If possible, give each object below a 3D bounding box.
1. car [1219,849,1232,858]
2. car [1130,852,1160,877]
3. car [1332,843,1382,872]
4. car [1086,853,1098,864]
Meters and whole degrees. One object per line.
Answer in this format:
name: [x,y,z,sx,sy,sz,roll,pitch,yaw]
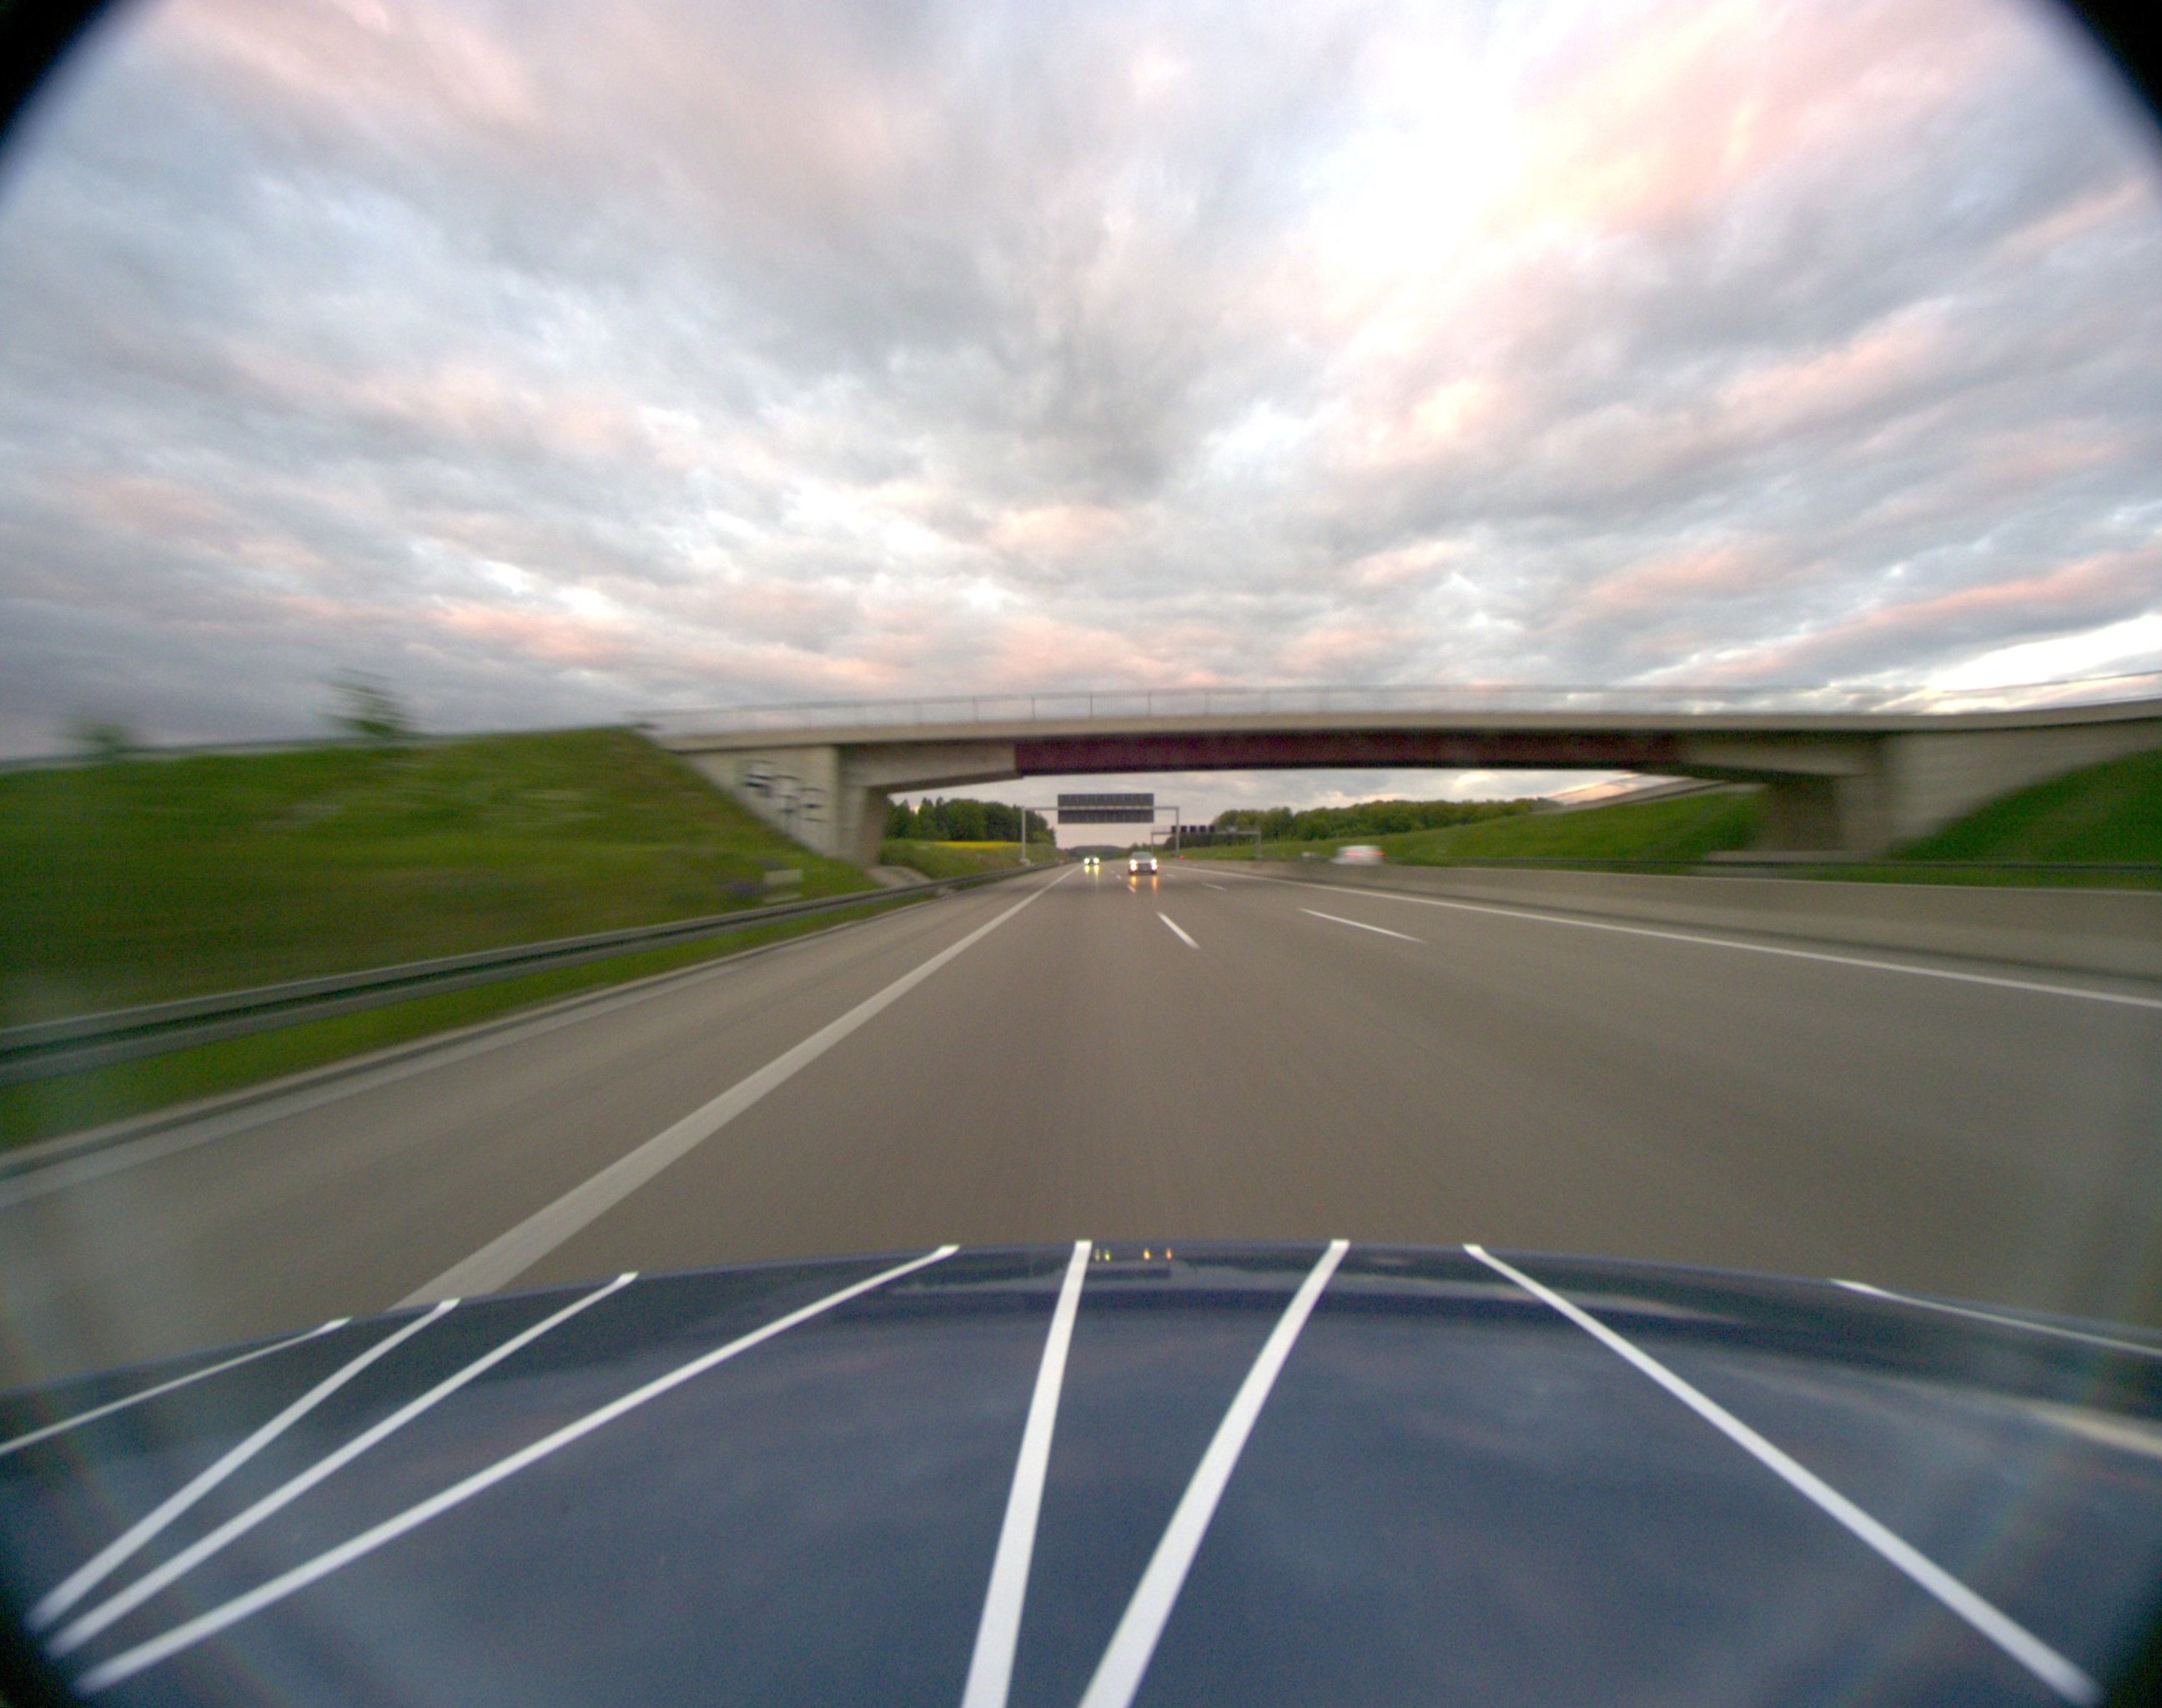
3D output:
car: [25.882,-0.115,135.920,1.606,1.548,4.000,-2,0,1]
car: [4.672,0.708,56.295,1.857,1.683,5.511,-1,1,1]
car: [20.108,0.237,55.580,1.827,1.924,4.894,-2,0,0]
car: [1.705,0.657,120.838,1.801,1.674,4.385,-1,1,1]
